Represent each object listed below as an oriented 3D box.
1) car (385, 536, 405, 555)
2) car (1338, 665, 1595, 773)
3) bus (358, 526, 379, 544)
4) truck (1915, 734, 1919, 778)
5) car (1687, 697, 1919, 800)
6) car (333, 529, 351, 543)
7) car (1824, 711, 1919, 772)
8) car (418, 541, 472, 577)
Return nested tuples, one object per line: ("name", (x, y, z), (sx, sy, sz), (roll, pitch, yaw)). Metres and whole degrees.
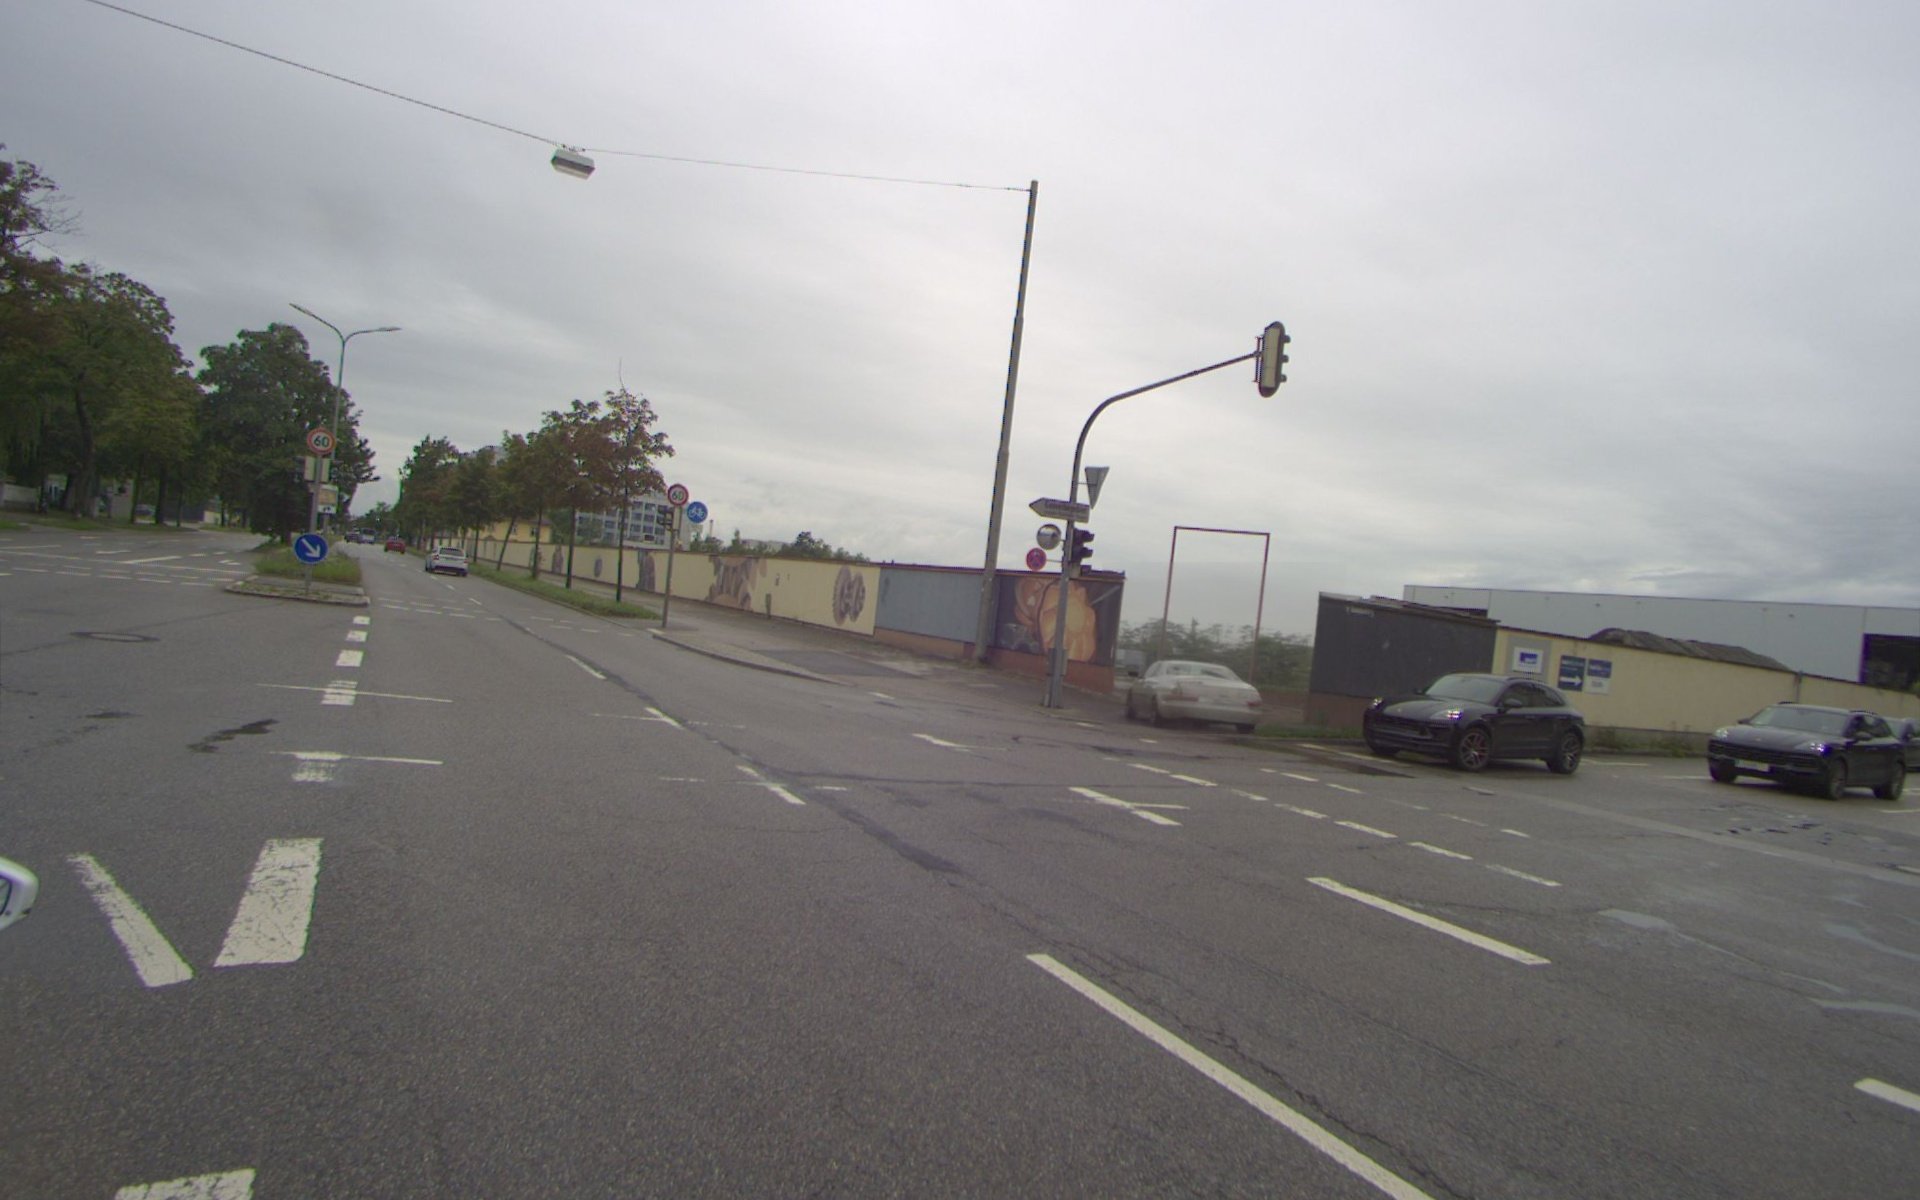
("car", (-59.095, -5.744, 105.250), (1.475, 1.736, 3.519), (8, -1, -33))
("car", (8.985, 2.119, 17.802), (4.216, 1.446, 1.985), (6, 0, -30))
("bus", (-122.984, -13.515, 209.107), (3.200, 3.164, 10.253), (8, -1, -33))
("truck", (31.485, 3.456, 28.727), (11.802, 3.904, 2.590), (6, 1, -30))
("car", (16.569, 2.924, 19.695), (4.580, 1.552, 1.985), (6, 0, -30))
("car", (-93.470, -9.711, 152.201), (2.071, 1.888, 4.347), (8, -1, -33))
("car", (28.807, 4.406, 31.169), (3.954, 1.494, 1.751), (6, 0, -29))
("car", (-26.960, -2.160, 52.601), (1.867, 1.485, 4.460), (8, -1, -35))
